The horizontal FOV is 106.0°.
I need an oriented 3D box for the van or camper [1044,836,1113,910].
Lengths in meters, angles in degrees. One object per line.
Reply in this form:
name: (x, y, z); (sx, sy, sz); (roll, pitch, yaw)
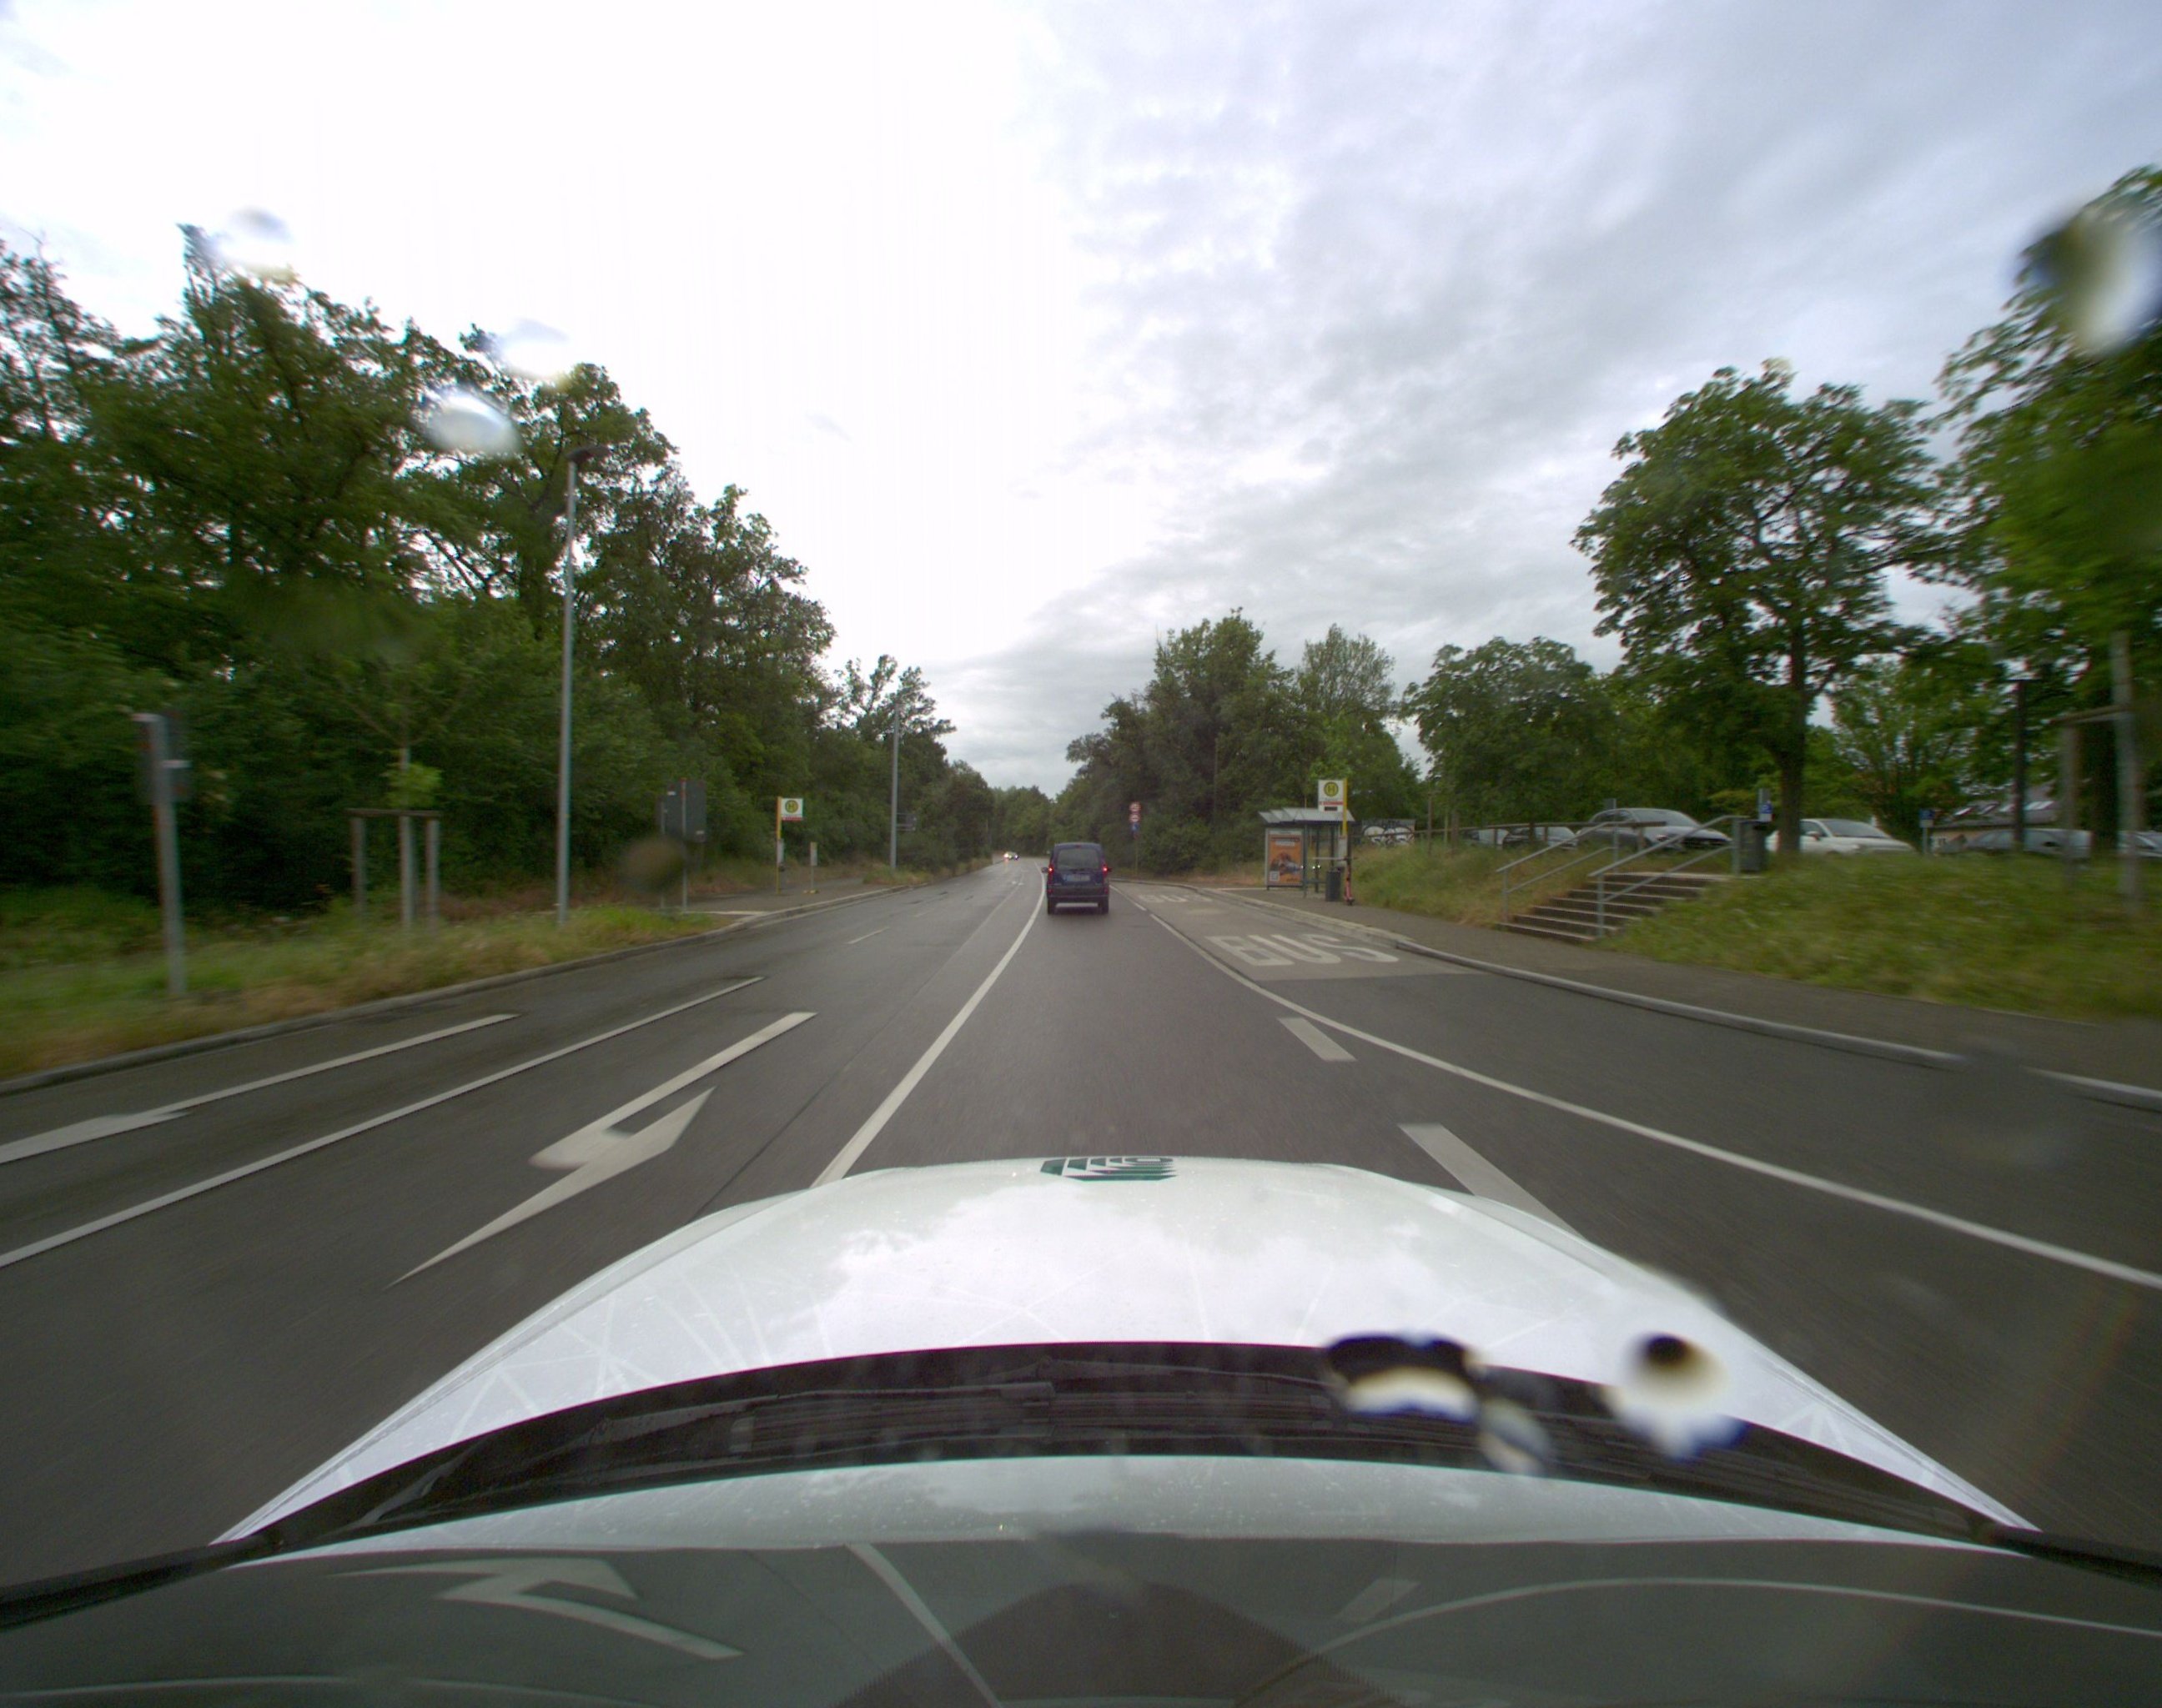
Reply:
van or camper: (-0.106, 0.498, 22.360); (1.708, 1.826, 3.997); (0, -1, -1)

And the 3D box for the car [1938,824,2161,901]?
car: (24.448, 0.196, 20.335); (1.984, 1.662, 4.005); (4, 0, 5)

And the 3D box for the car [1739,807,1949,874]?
car: (19.496, -0.283, 21.099); (1.876, 1.480, 4.075); (3, -1, 6)

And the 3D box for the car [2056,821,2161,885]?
car: (26.652, -0.008, 19.497); (1.877, 1.480, 4.073); (3, -1, 4)

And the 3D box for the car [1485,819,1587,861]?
car: (18.663, -0.538, 33.677); (1.876, 1.480, 4.789); (3, -1, 6)

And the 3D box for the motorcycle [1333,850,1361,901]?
motorcycle: (6.954, 0.537, 21.326); (0.584, 1.289, 1.544); (0, 0, 14)

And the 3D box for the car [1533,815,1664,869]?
car: (18.049, -0.399, 28.678); (1.984, 1.662, 4.478); (4, 0, 5)

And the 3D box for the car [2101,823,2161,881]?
car: (29.595, -0.052, 20.912); (1.877, 1.480, 4.073); (3, -1, 4)

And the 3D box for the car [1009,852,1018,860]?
car: (-13.181, 0.357, 159.055); (1.596, 1.441, 3.985); (-1, 0, -4)

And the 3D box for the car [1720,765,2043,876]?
car: (14.334, -0.547, 14.986); (1.987, 1.662, 4.000); (4, 0, 1)

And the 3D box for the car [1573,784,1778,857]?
car: (14.447, -0.727, 20.155); (1.986, 1.480, 4.285); (3, -1, 1)
